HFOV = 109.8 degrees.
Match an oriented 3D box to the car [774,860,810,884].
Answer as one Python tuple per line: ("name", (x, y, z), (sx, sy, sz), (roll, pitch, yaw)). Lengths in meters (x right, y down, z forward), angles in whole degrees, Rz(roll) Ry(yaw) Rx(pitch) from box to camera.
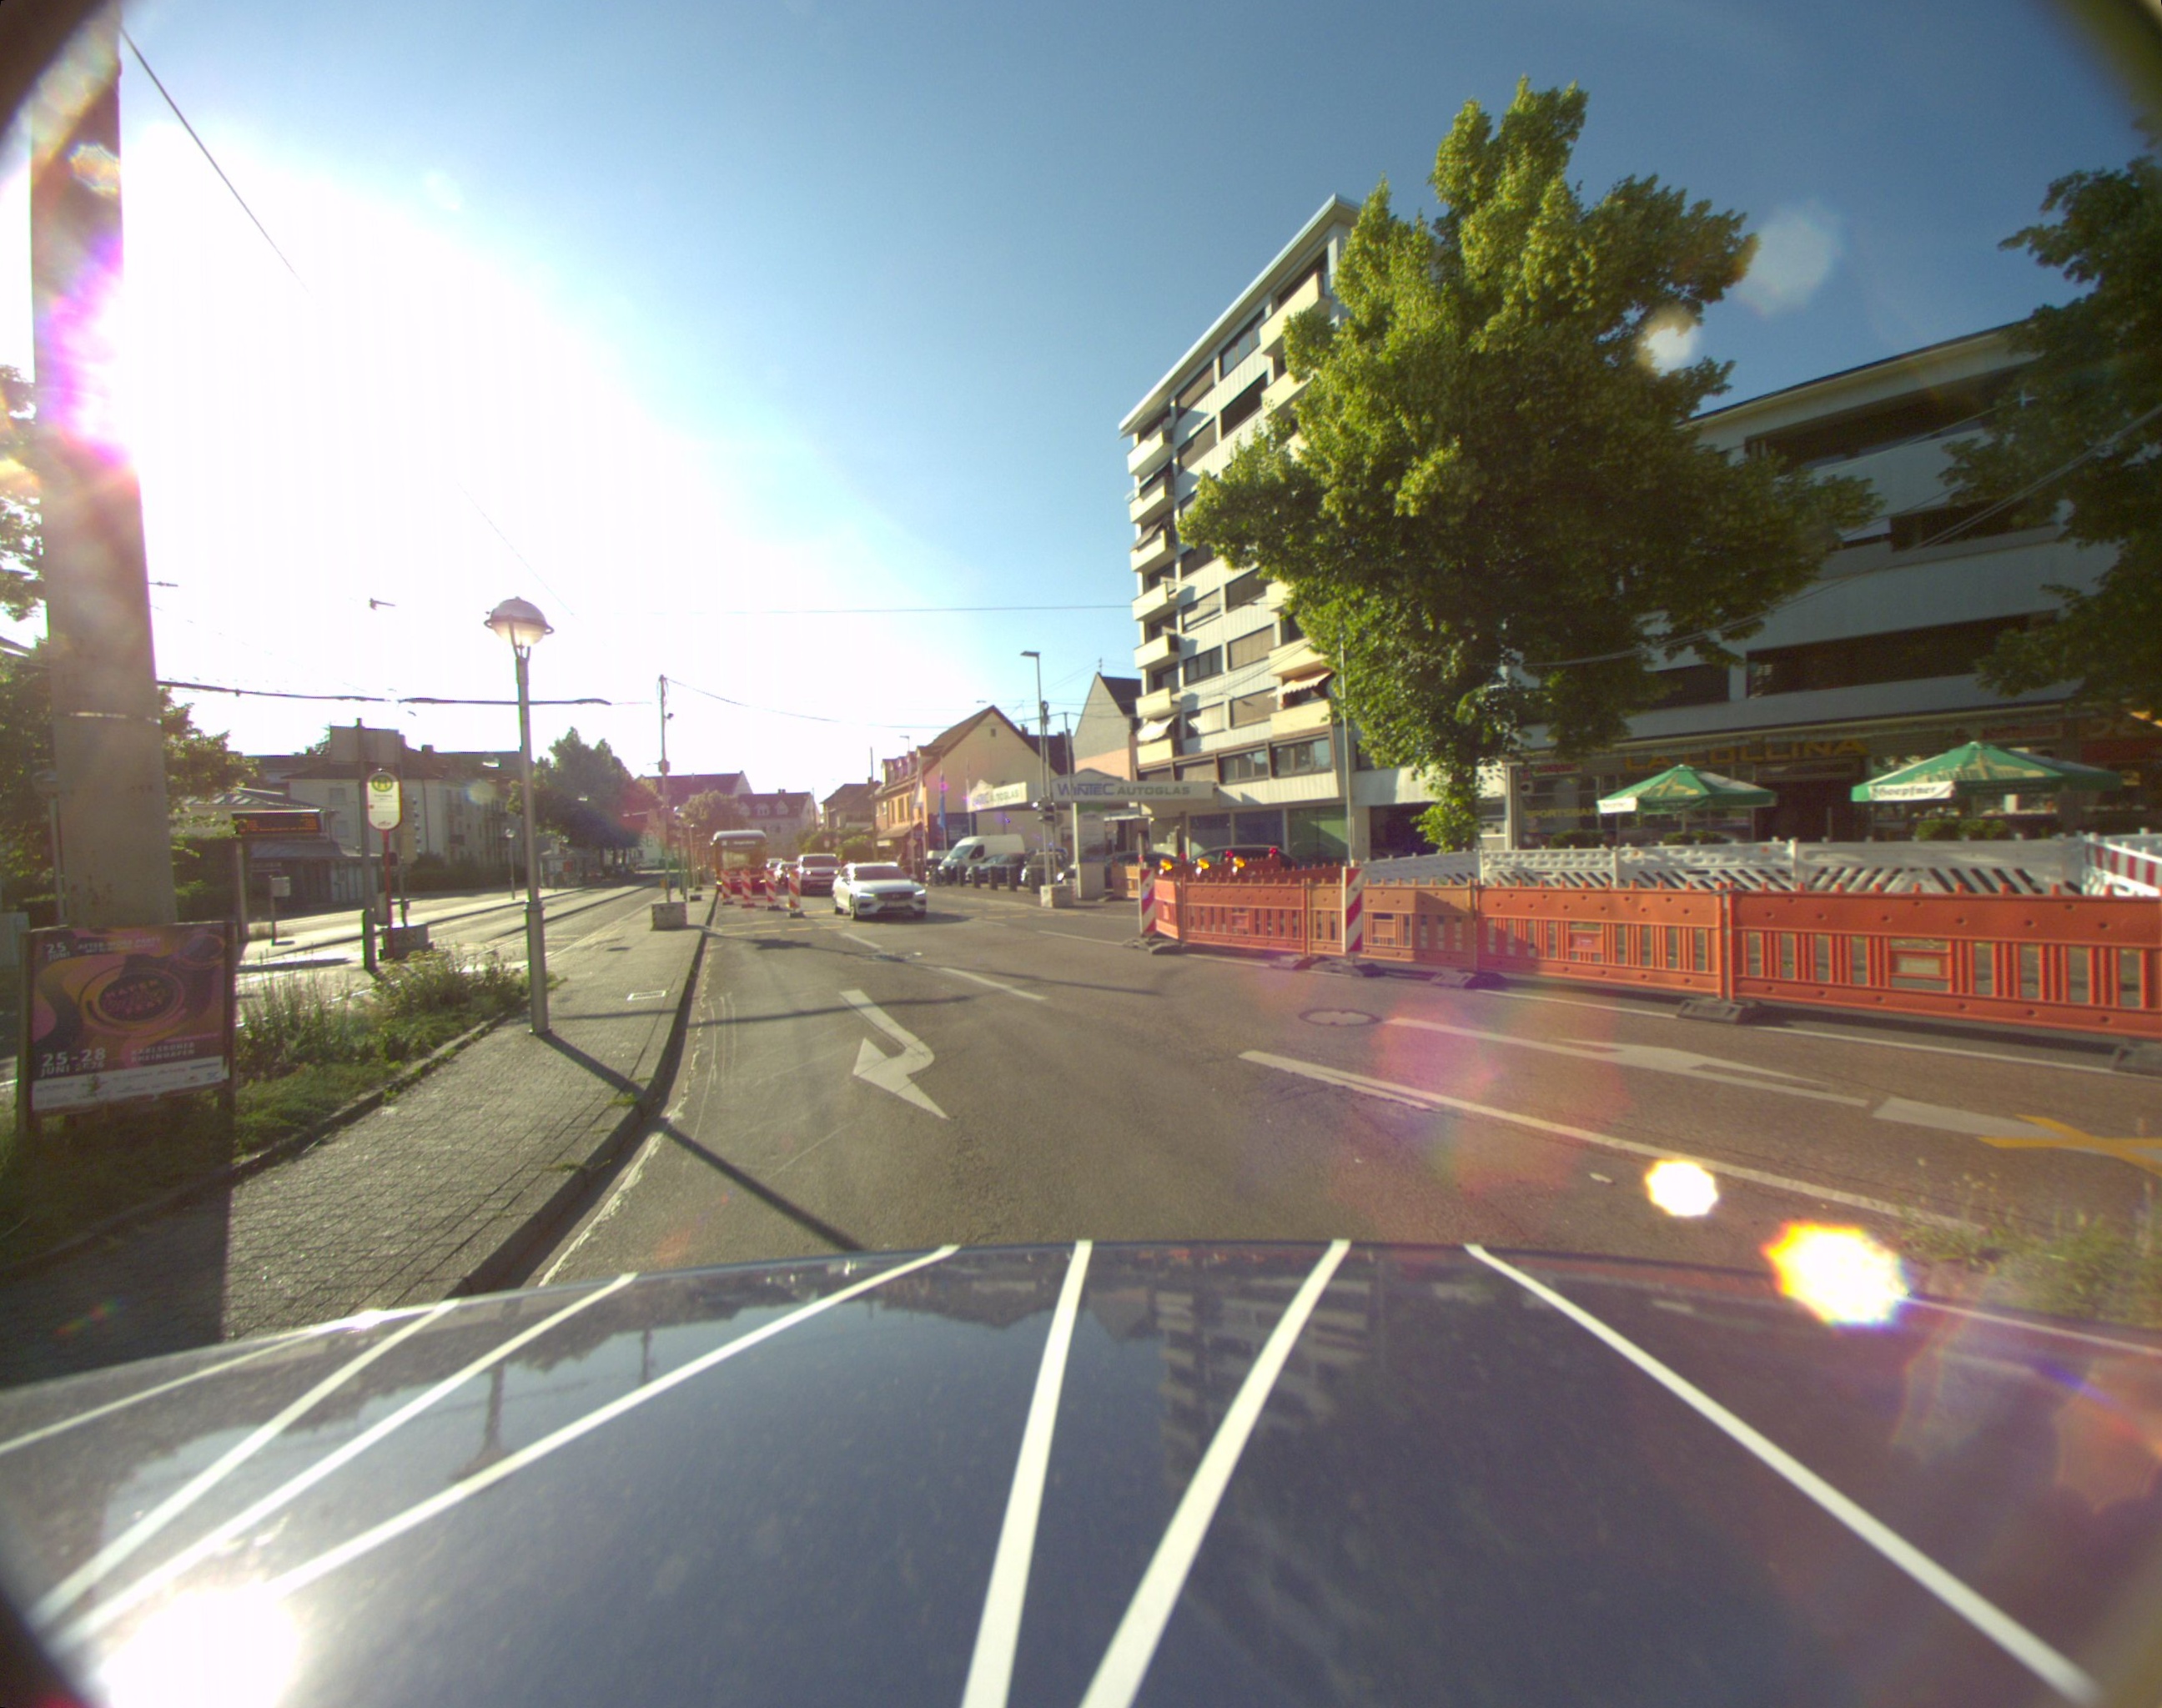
("car", (-19.365, 1.159, 50.770), (1.973, 1.450, 4.815), (-2, 0, -24))

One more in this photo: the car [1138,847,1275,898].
("car", (3.810, 0.541, 23.362), (3.883, 1.430, 1.595), (-1, 0, -5))

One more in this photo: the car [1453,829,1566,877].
("car", (16.351, -0.066, 29.012), (3.758, 1.599, 1.570), (-3, 1, -17))

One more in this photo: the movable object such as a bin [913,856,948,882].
("movable object such as a bin", (-9.141, 0.904, 46.284), (1.045, 1.456, 1.799), (0, 1, 40))

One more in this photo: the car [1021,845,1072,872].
("car", (-2.711, 0.350, 59.306), (3.679, 2.002, 1.448), (-2, 1, -27))

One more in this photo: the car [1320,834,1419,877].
("car", (11.961, 0.059, 31.715), (1.726, 1.664, 3.623), (-2, 1, -27))

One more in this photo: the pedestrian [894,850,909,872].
("pedestrian", (-14.477, 0.573, 61.323), (0.857, 1.703, 0.811), (0, 2, 44))

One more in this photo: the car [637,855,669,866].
("car", (-76.688, 1.185, 136.056), (4.593, 1.845, 1.740), (-2, 1, -9))

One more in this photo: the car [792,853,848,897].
("car", (-12.126, 0.914, 35.129), (1.973, 1.816, 5.023), (-2, 1, -24))

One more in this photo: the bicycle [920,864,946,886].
("bicycle", (-7.542, 1.050, 38.673), (0.726, 1.080, 1.788), (-3, 1, -28))

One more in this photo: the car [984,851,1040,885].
("car", (-3.321, 0.652, 37.151), (1.592, 1.488, 3.439), (-2, 1, 15))

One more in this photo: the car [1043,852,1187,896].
("car", (1.206, 0.682, 26.557), (4.679, 1.430, 1.935), (-1, 0, 17))

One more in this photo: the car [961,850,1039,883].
("car", (-4.210, 0.633, 40.088), (1.738, 1.488, 4.038), (-1, 1, 37))

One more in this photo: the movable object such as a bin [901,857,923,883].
("movable object such as a bin", (-9.978, 0.944, 44.844), (1.047, 1.456, 0.796), (-1, 1, 7))

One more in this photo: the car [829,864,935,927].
("car", (-5.495, 1.022, 20.580), (1.825, 1.446, 4.208), (-2, 1, -28))

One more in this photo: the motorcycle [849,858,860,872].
("motorcycle", (-19.918, 0.950, 66.824), (0.710, 1.210, 2.182), (-2, 1, -22))

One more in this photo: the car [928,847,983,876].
("car", (-9.265, 0.551, 56.116), (3.679, 2.002, 1.448), (-2, 1, -27))

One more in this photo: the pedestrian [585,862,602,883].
("pedestrian", (-37.896, 1.459, 59.066), (0.840, 1.601, 0.826), (-1, 1, 31))

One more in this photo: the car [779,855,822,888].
("car", (-16.622, 0.982, 44.869), (1.973, 1.816, 5.023), (-2, 1, -24))

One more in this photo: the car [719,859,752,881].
("car", (-24.165, 1.073, 53.230), (1.973, 1.450, 4.815), (-2, 0, -24))

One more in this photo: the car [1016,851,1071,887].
("car", (-1.639, 0.650, 34.491), (1.539, 1.478, 3.376), (-2, 1, 14))

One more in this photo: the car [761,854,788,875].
("car", (-26.528, 0.890, 65.628), (1.973, 1.694, 4.815), (-2, 1, -24))

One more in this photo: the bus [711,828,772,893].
("bus", (-19.935, 0.336, 44.562), (2.754, 3.284, 12.007), (-2, 1, -25))

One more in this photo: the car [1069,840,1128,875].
("car", (1.009, 0.202, 45.523), (1.745, 1.933, 4.249), (-3, 1, -25))

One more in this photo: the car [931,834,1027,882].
("car", (-5.585, 0.159, 42.262), (2.109, 2.440, 5.001), (-1, 2, 44))

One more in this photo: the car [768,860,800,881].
("car", (-22.506, 1.241, 57.471), (1.973, 1.450, 4.815), (-2, 0, -24))
